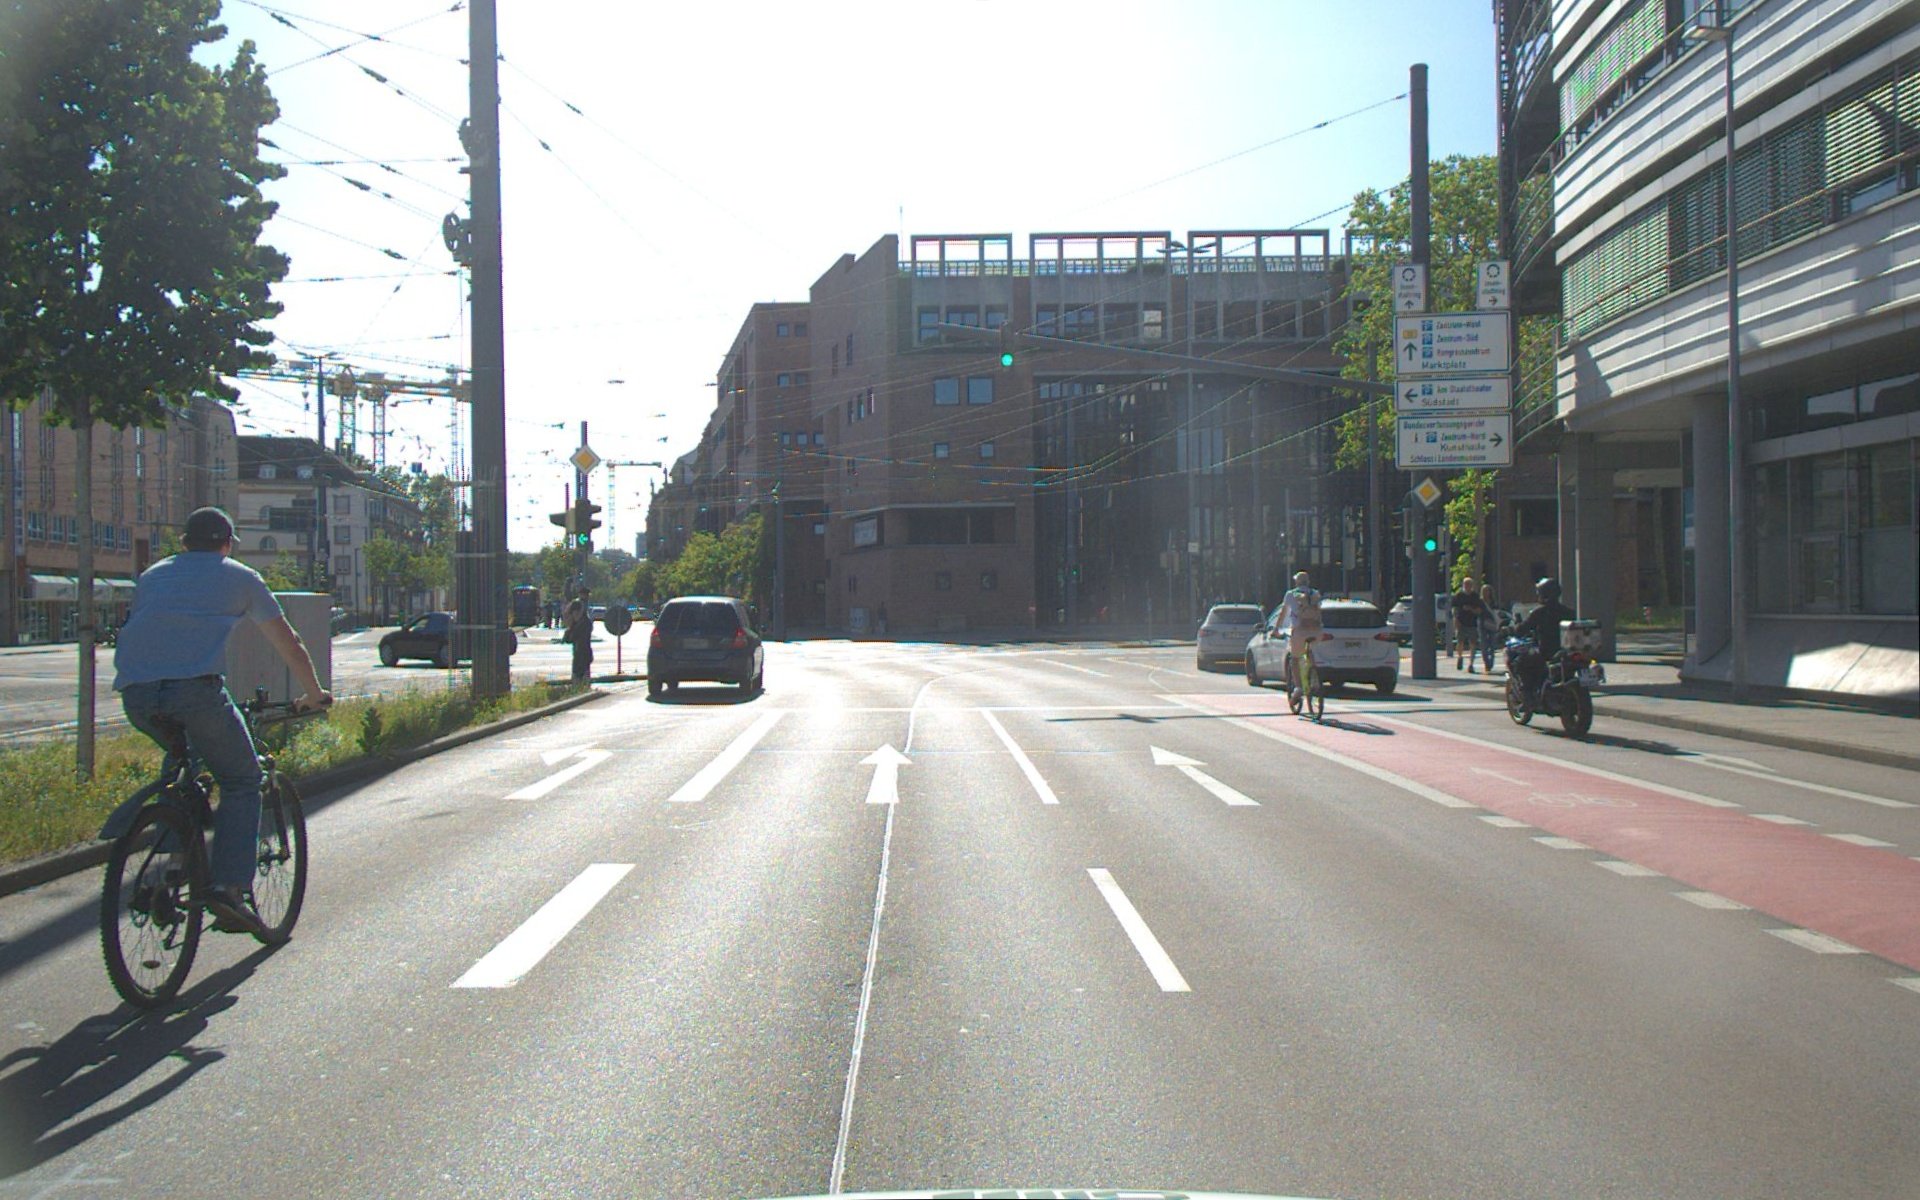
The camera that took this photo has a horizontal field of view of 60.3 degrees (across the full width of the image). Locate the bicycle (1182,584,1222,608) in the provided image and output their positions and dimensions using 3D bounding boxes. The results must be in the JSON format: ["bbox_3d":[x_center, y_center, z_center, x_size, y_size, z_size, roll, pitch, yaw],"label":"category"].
[{"bbox_3d":[10.832,-0.185,74.024,1.646,1.012,0.668,-1,-1,-23],"label":"bicycle"}]

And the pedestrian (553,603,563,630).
[{"bbox_3d":[-25.758,1.044,105.971,0.530,1.684,0.703,-1,-1,-16],"label":"pedestrian"}]

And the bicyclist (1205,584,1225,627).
[{"bbox_3d":[11.427,0.231,74.136,0.597,1.917,0.646,-1,-1,-23],"label":"bicyclist"}]

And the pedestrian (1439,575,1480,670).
[{"bbox_3d":[9.840,0.440,32.594,0.624,1.829,0.609,-2,1,8],"label":"pedestrian"}]

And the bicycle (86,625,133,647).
[{"bbox_3d":[-51.893,2.193,100.965,2.435,1.333,0.733,-1,0,-4],"label":"bicycle"}]

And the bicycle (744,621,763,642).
[{"bbox_3d":[-10.150,1.518,81.276,0.593,1.002,2.305,0,-1,-16],"label":"bicycle"}]

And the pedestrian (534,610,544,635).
[{"bbox_3d":[-26.928,1.438,105.859,0.590,1.594,0.910,-1,-1,-16],"label":"pedestrian"}]

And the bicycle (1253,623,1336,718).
[{"bbox_3d":[4.352,0.891,21.614,0.636,1.129,1.757,-1,1,-3],"label":"bicycle"}]

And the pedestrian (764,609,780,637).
[{"bbox_3d":[-11.904,1.426,104.789,0.865,1.747,0.927,-1,-1,-16],"label":"pedestrian"}]

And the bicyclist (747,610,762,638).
[{"bbox_3d":[-10.040,1.167,80.884,0.583,1.359,0.929,0,-1,-16],"label":"bicyclist"}]

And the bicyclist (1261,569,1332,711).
[{"bbox_3d":[4.352,0.494,21.432,0.636,1.783,1.045,-1,1,-3],"label":"bicyclist"}]

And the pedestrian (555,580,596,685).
[{"bbox_3d":[-6.690,0.562,28.755,0.658,1.783,0.766,-1,0,-14],"label":"pedestrian"}]

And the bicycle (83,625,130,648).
[{"bbox_3d":[-51.449,2.207,99.690,2.435,1.333,0.733,-1,0,-4],"label":"bicycle"}]

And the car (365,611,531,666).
[{"bbox_3d":[-14.443,1.099,46.643,4.416,1.474,1.731,-1,0,24],"label":"car"}]

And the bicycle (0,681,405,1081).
[{"bbox_3d":[-2.937,0.930,6.431,0.673,1.088,2.696,1,0,-1],"label":"bicycle"}]

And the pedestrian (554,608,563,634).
[{"bbox_3d":[-25.779,1.357,106.212,0.530,1.684,0.892,-1,-1,-16],"label":"pedestrian"}]

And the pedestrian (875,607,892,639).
[{"bbox_3d":[-3.916,1.185,84.695,0.608,1.590,0.982,-1,-1,-16],"label":"pedestrian"}]

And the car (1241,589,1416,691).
[{"bbox_3d":[6.299,0.630,28.738,1.868,1.611,4.135,1,0,-4],"label":"car"}]

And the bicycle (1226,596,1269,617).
[{"bbox_3d":[11.960,0.267,68.796,1.640,0.820,0.671,-1,0,-13],"label":"bicycle"}]

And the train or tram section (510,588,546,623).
[{"bbox_3d":[-39.357,0.509,150.944,2.285,3.056,13.124,-1,0,-11],"label":"train or tram section"}]

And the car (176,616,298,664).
[{"bbox_3d":[-23.136,1.285,52.906,3.502,1.474,1.658,-1,0,25],"label":"car"}]

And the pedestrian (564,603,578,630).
[{"bbox_3d":[-26.150,1.102,111.218,0.709,1.765,0.595,-1,-1,-33],"label":"pedestrian"}]

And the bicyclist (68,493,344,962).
[{"bbox_3d":[-2.929,0.464,6.521,0.605,1.699,1.019,1,0,-1],"label":"bicyclist"}]

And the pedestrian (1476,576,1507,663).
[{"bbox_3d":[10.394,0.374,32.349,0.418,1.674,0.562,-2,1,7],"label":"pedestrian"}]

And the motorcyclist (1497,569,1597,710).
[{"bbox_3d":[6.832,0.454,19.280,0.812,1.588,0.941,0,-1,-2],"label":"motorcyclist"}]

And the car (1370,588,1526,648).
[{"bbox_3d":[14.148,0.514,48.031,3.921,1.611,1.905,1,1,-15],"label":"car"}]

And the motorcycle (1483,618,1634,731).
[{"bbox_3d":[6.881,0.822,19.160,0.812,1.222,2.389,0,-1,-2],"label":"motorcycle"}]

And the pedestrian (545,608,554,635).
[{"bbox_3d":[-26.247,1.380,105.768,0.502,1.684,0.758,-1,-1,-16],"label":"pedestrian"}]

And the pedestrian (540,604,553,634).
[{"bbox_3d":[-24.225,1.132,96.807,0.604,1.698,0.860,-4,1,-16],"label":"pedestrian"}]

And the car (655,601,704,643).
[{"bbox_3d":[-13.978,1.079,82.254,1.961,1.982,3.983,-1,0,-16],"label":"car"}]

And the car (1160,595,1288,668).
[{"bbox_3d":[6.050,0.691,38.421,1.870,1.568,4.132,1,0,-7],"label":"car"}]

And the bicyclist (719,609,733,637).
[{"bbox_3d":[-12.771,1.256,90.351,0.656,1.553,0.704,0,-1,-16],"label":"bicyclist"}]

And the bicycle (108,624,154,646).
[{"bbox_3d":[-51.377,2.151,102.495,2.435,1.333,0.733,-1,0,-4],"label":"bicycle"}]

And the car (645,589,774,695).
[{"bbox_3d":[-4.035,0.647,27.122,1.692,1.591,3.675,-1,0,-3],"label":"car"}]
